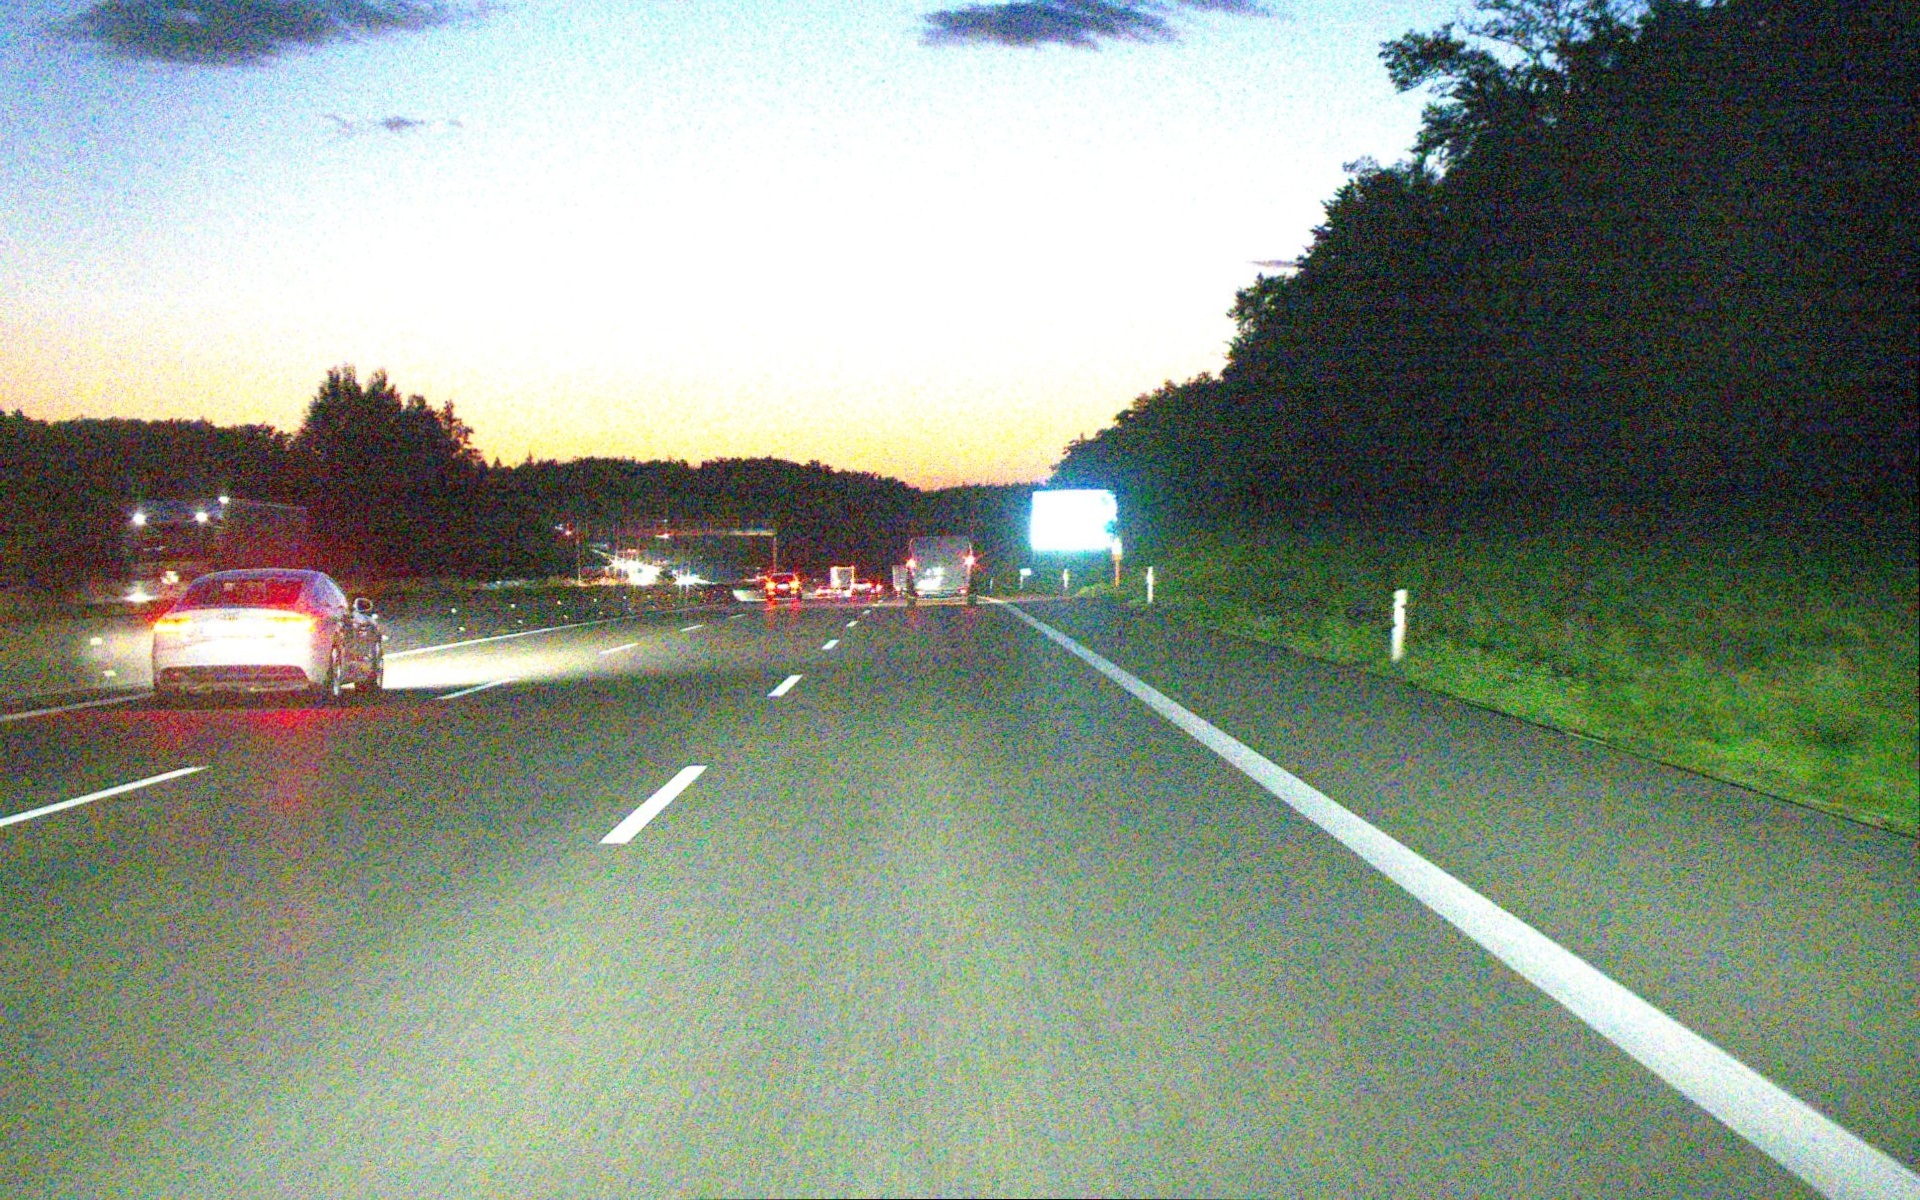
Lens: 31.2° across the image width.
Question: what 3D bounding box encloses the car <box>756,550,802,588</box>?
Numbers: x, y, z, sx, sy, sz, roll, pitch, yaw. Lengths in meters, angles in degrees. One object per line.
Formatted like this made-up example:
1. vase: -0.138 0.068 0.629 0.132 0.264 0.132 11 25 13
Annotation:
1. car: -9.556 -1.630 181.453 2.196 1.949 4.633 1 1 0

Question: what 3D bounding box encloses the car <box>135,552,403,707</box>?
1. car: -7.192 0.253 36.298 1.779 1.482 5.254 1 1 0

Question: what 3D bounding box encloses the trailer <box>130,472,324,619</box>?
1. trailer: -23.807 -1.774 112.599 3.325 4.418 14.025 -1 1 0

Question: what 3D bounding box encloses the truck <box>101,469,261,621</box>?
1. truck: -23.751 -1.670 105.153 3.325 4.418 6.708 -1 1 0

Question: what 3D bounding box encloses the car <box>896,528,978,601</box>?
1. car: -0.676 -1.028 98.329 2.196 1.948 4.763 -3 1 -1

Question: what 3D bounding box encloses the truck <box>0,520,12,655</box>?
1. truck: -20.090 -0.187 63.793 2.872 2.632 7.886 -1 1 -1
